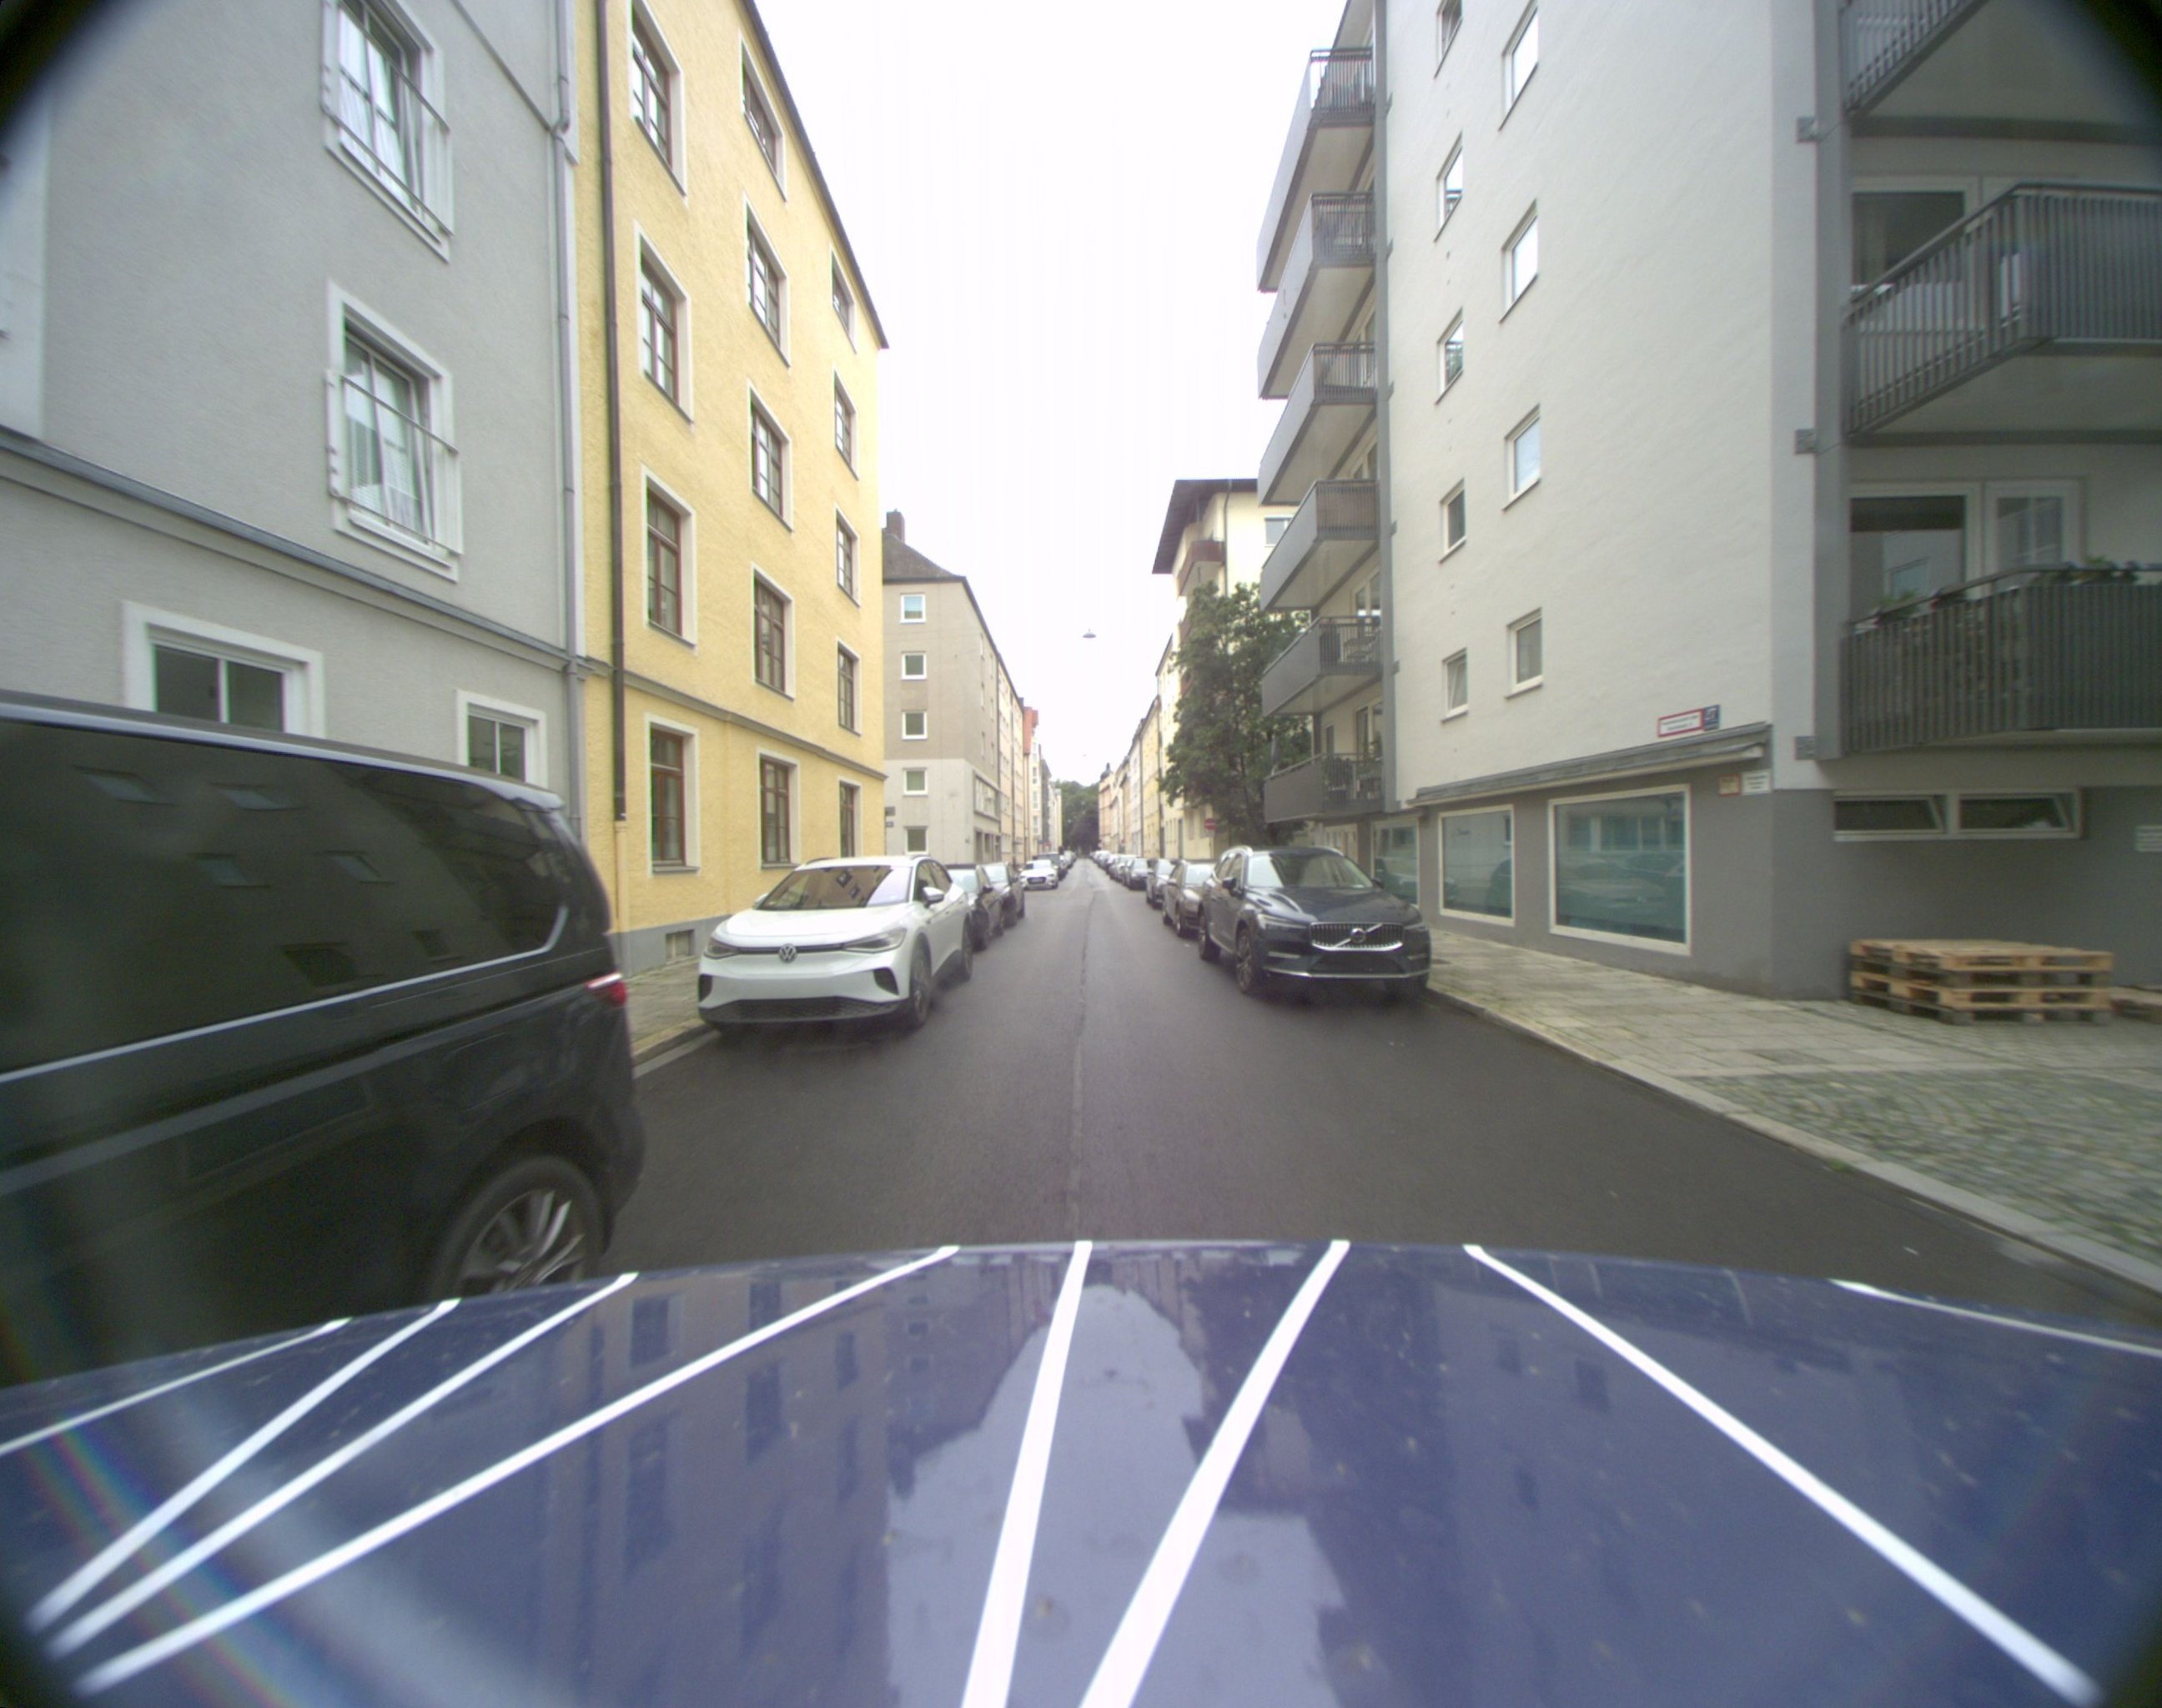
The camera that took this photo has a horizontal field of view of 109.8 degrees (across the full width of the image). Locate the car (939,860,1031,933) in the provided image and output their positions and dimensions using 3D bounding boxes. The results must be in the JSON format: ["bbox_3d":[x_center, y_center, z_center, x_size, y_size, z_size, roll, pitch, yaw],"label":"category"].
[{"bbox_3d":[-2.228,0.944,18.506,1.691,1.496,3.856,-1,1,0],"label":"car"}]

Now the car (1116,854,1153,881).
[{"bbox_3d":[3.171,0.772,45.685,1.896,1.444,4.296,-1,1,0],"label":"car"}]

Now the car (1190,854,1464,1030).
[{"bbox_3d":[2.657,0.840,9.477,1.972,1.597,4.540,-1,1,0],"label":"car"}]

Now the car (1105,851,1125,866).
[{"bbox_3d":[3.505,0.432,79.792,1.896,1.444,4.296,-1,1,0],"label":"car"}]

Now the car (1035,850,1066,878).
[{"bbox_3d":[-2.108,0.660,53.229,1.896,1.859,4.296,-1,1,0],"label":"car"}]

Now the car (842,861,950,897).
[{"bbox_3d":[-7.753,1.030,32.237,4.161,1.373,1.972,-1,1,-4],"label":"car"}]

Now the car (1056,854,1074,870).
[{"bbox_3d":[-1.754,0.877,84.566,1.896,1.621,4.296,-1,1,0],"label":"car"}]

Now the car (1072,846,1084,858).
[{"bbox_3d":[-0.510,-0.340,131.249,1.998,2.002,4.000,-2,1,1],"label":"car"}]

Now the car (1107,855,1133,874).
[{"bbox_3d":[3.222,0.821,63.356,1.896,1.444,4.296,-1,1,0],"label":"car"}]

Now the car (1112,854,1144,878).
[{"bbox_3d":[3.150,0.777,51.263,1.896,1.444,4.296,-1,1,0],"label":"car"}]

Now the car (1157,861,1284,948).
[{"bbox_3d":[2.664,0.911,15.475,1.818,1.433,4.296,-1,1,0],"label":"car"}]

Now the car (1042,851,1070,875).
[{"bbox_3d":[-1.881,0.661,58.033,1.896,1.751,4.296,-1,1,0],"label":"car"}]

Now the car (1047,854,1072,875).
[{"bbox_3d":[-1.780,0.863,63.759,1.896,1.621,4.296,-1,1,0],"label":"car"}]

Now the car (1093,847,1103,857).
[{"bbox_3d":[3.449,-0.490,153.378,1.998,2.002,4.000,-1,0,1],"label":"car"}]

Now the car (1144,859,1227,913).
[{"bbox_3d":[3.072,0.909,23.228,1.972,1.391,4.296,-1,1,0],"label":"car"}]

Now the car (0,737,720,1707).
[{"bbox_3d":[-2.600,0.788,0.641,1.987,1.828,5.183,-3,0,0],"label":"car"}]

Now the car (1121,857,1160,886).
[{"bbox_3d":[3.101,0.880,40.252,1.769,1.369,4.296,-1,0,0],"label":"car"}]

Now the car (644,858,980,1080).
[{"bbox_3d":[-2.411,0.915,8.240,1.966,1.665,4.541,-1,1,0],"label":"car"}]

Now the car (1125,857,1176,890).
[{"bbox_3d":[3.114,0.840,34.721,1.972,1.369,4.296,-1,0,0],"label":"car"}]

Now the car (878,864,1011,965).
[{"bbox_3d":[-2.347,0.996,14.012,1.691,1.496,3.856,-1,1,0],"label":"car"}]

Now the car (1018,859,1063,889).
[{"bbox_3d":[-1.954,0.962,38.240,1.972,1.369,4.296,-1,0,0],"label":"car"}]

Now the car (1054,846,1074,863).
[{"bbox_3d":[-1.688,0.006,75.908,1.896,1.621,4.296,-1,1,0],"label":"car"}]
